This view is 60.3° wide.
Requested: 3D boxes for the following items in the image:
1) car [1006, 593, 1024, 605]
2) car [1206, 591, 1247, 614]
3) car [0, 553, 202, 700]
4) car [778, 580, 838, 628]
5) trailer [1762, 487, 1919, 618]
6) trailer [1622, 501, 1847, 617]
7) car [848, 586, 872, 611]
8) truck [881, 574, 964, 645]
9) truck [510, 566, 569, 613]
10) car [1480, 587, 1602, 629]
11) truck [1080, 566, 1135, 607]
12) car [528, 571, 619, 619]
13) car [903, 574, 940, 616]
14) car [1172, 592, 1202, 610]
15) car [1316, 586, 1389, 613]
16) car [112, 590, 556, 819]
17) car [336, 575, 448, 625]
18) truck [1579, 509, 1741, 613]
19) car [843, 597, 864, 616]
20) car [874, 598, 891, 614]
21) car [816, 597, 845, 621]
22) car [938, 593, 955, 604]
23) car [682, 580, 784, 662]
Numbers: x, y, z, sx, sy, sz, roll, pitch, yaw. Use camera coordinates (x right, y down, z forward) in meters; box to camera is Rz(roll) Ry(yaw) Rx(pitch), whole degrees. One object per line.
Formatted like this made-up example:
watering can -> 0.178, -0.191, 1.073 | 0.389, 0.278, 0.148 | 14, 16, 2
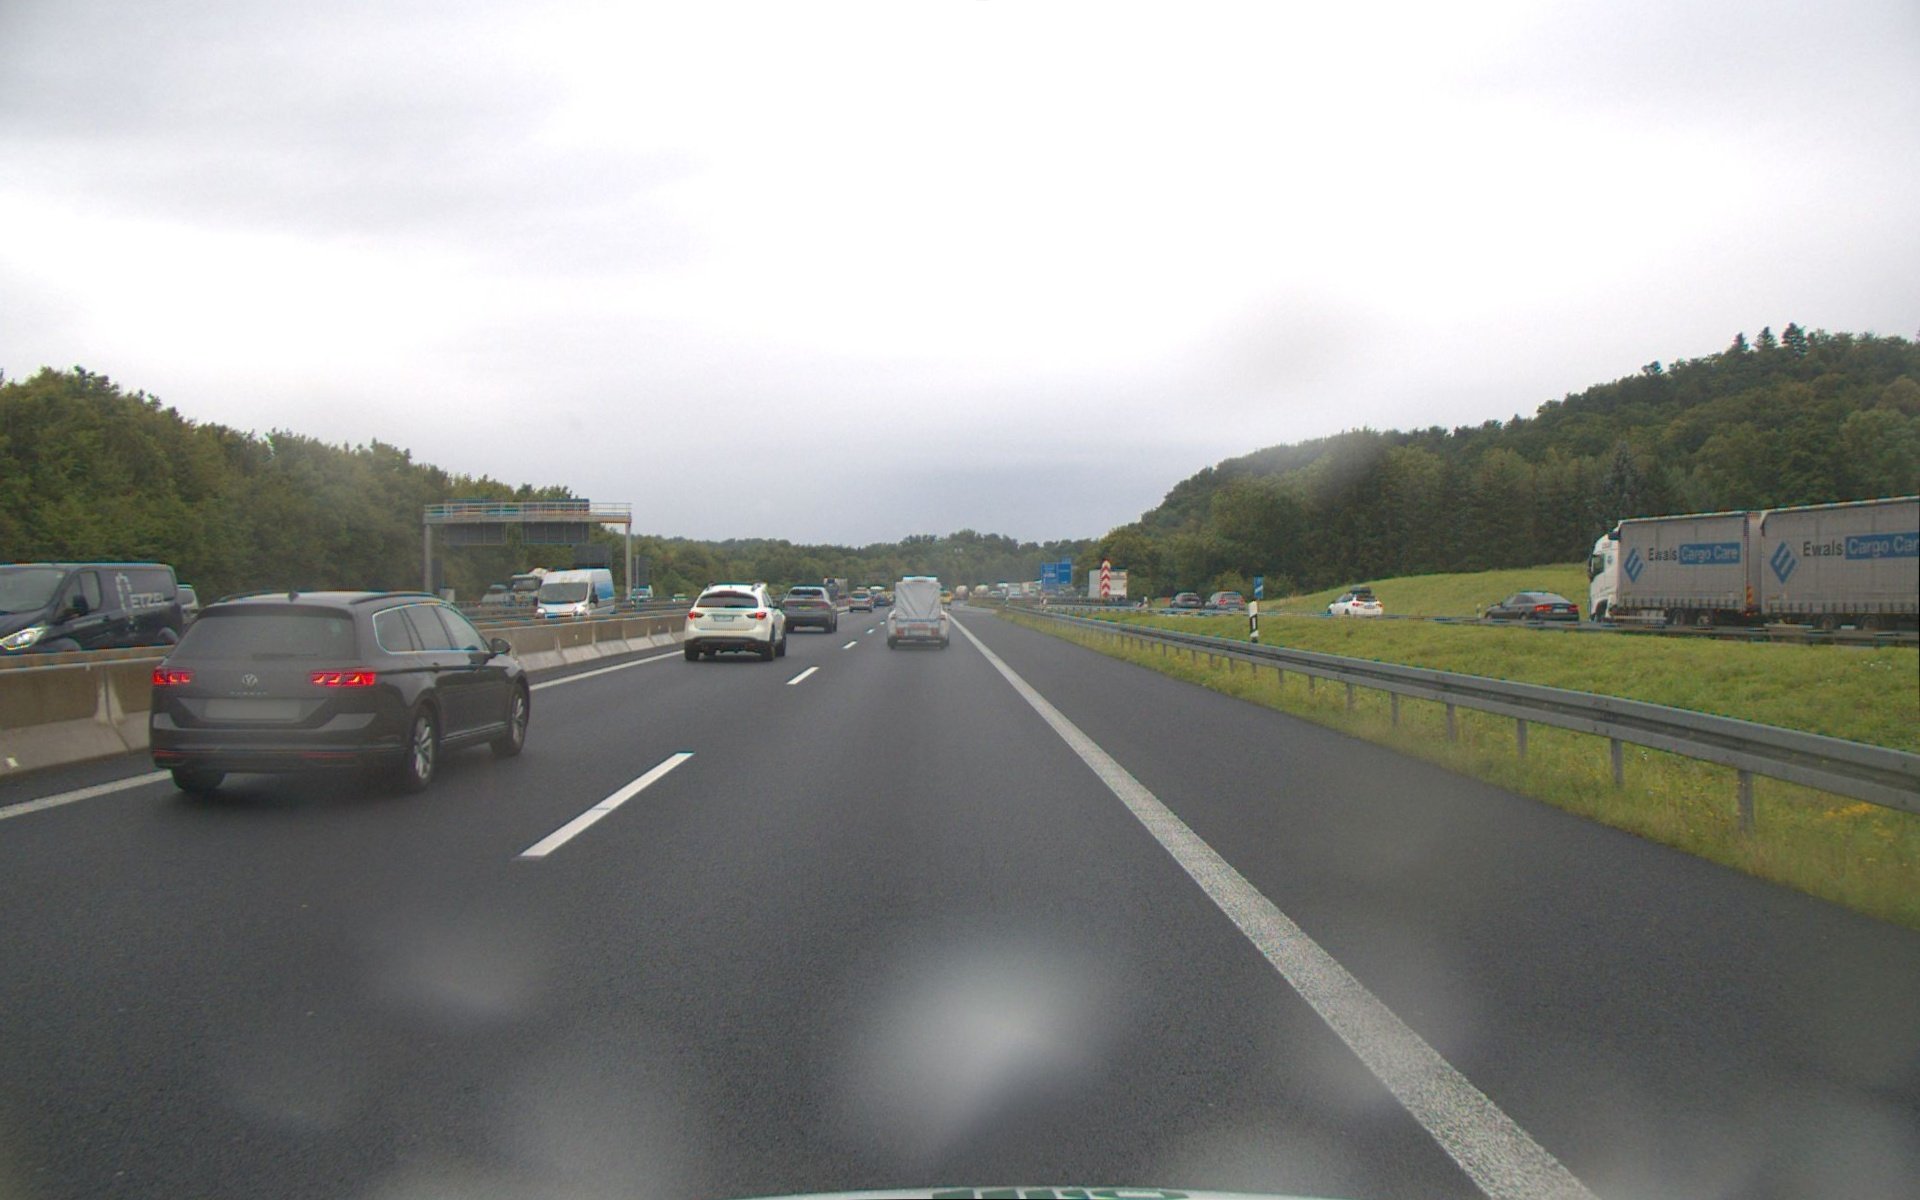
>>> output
car -> 7.160, -0.112, 215.474 | 1.954, 1.579, 3.996 | 1, 0, -5
car -> 15.816, 0.122, 98.227 | 1.510, 1.311, 3.529 | 1, 0, -7
car -> -12.772, 0.306, 23.509 | 1.953, 1.868, 4.677 | 1, 0, -2
car -> -5.757, 0.136, 63.132 | 1.936, 1.733, 4.801 | 1, 0, -2
trailer -> 27.321, -1.281, 48.337 | 3.020, 3.588, 8.070 | 1, 0, -8
trailer -> 26.202, -1.308, 56.538 | 2.882, 3.588, 8.406 | 1, 0, -7
car -> -7.791, -0.123, 128.841 | 1.703, 1.825, 3.999 | 1, 0, -1
truck -> -1.114, 0.246, 47.520 | 2.197, 1.871, 6.582 | 1, 0, -2
truck -> -34.369, -0.840, 135.464 | 2.631, 3.725, 9.554 | -1, 0, -2
car -> 20.294, 0.253, 58.070 | 1.948, 1.401, 5.312 | 0, 1, -6
truck -> 13.919, -1.273, 156.662 | 3.750, 3.723, 8.263 | 1, 0, -5
car -> -14.632, -0.190, 62.944 | 2.311, 1.722, 5.903 | 0, 0, -3
car -> -2.622, -0.326, 111.361 | 2.285, 2.773, 6.535 | 0, 0, -4
car -> 16.972, 0.098, 123.676 | 1.663, 1.311, 3.533 | 1, 0, -2
car -> 20.623, -0.029, 87.124 | 1.949, 1.401, 5.068 | 0, 0, -9
car -> -4.714, 0.681, 13.310 | 1.751, 1.484, 4.802 | 1, 0, 0
car -> -17.707, -0.010, 51.811 | 1.953, 1.460, 4.678 | 1, 0, -2
truck -> 25.604, -1.364, 60.814 | 2.882, 3.588, 5.917 | 1, 0, -7
car -> -9.771, 0.614, 151.847 | 1.782, 1.691, 4.016 | 0, 0, -1
car -> -7.950, 0.625, 170.395 | 1.612, 1.601, 3.999 | 1, 0, -1
car -> -9.101, 0.615, 116.672 | 1.782, 1.691, 4.016 | 0, 0, -1
car -> -1.987, -0.214, 239.999 | 1.955, 1.579, 3.995 | 1, 0, -6
car -> -5.059, 0.437, 37.343 | 2.008, 1.700, 4.536 | 1, 0, -5
